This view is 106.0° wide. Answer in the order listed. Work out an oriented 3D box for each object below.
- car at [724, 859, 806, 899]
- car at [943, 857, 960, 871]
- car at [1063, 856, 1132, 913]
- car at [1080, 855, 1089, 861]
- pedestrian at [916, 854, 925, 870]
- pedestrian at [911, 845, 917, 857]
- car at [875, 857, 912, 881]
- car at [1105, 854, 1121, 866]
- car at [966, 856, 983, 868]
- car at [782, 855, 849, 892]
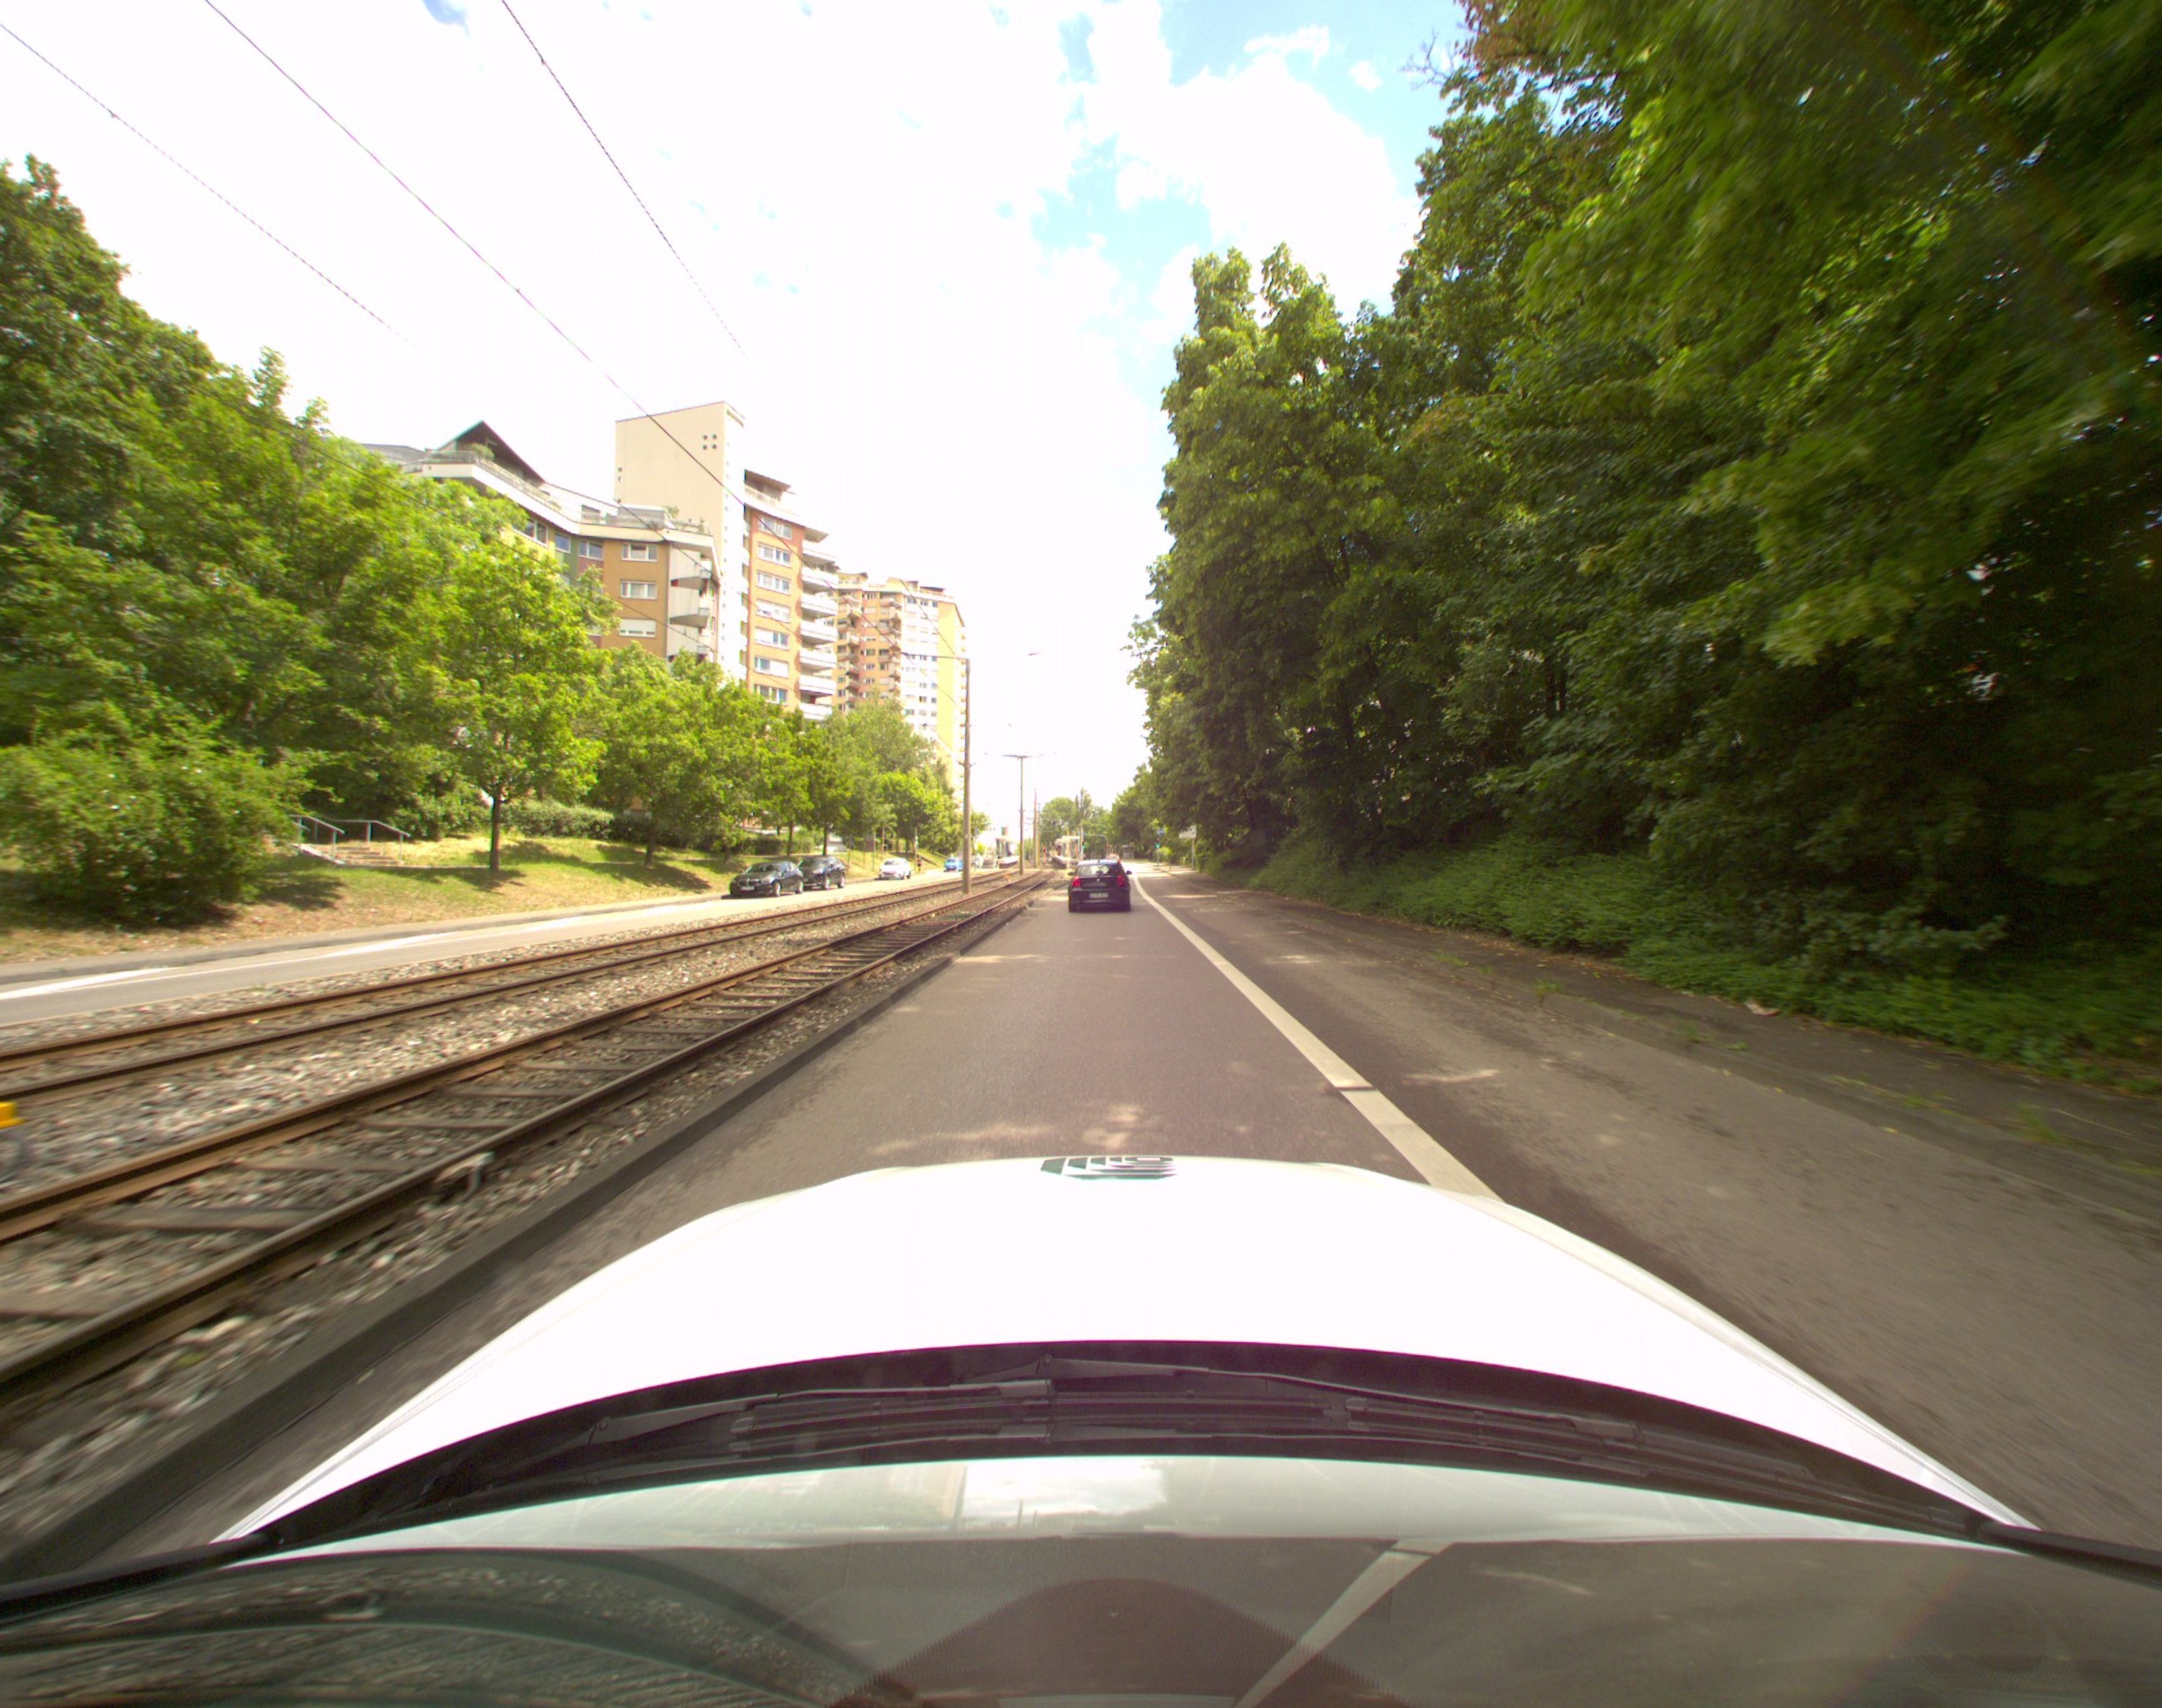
[{"bbox_3d":[-12.808,0.973,33.258,1.769,1.498,3.996,-1,0,0],"label":"car"},{"bbox_3d":[-13.220,1.012,83.225,1.715,1.442,3.931,-1,0,-9],"label":"car"},{"bbox_3d":[0.458,0.813,23.590,1.775,1.459,3.921,-2,0,0],"label":"car"},{"bbox_3d":[0.738,0.874,177.684,1.905,1.459,3.997,-1,0,-3],"label":"car"},{"bbox_3d":[-15.420,0.745,78.039,0.769,1.534,0.713,-1,0,-17],"label":"pedestrian"},{"bbox_3d":[-22.481,-0.384,109.639,0.628,1.534,0.637,-1,0,20],"label":"pedestrian"},{"bbox_3d":[-13.013,1.003,56.851,1.777,1.532,4.239,-2,0,-3],"label":"car"},{"bbox_3d":[4.008,0.752,101.410,1.776,1.459,3.919,-1,0,-1],"label":"car"},{"bbox_3d":[-13.733,1.019,105.030,1.711,1.564,3.695,-1,0,-2],"label":"car"},{"bbox_3d":[-12.719,0.921,39.275,1.769,1.630,4.381,-1,-1,0],"label":"car"}]
